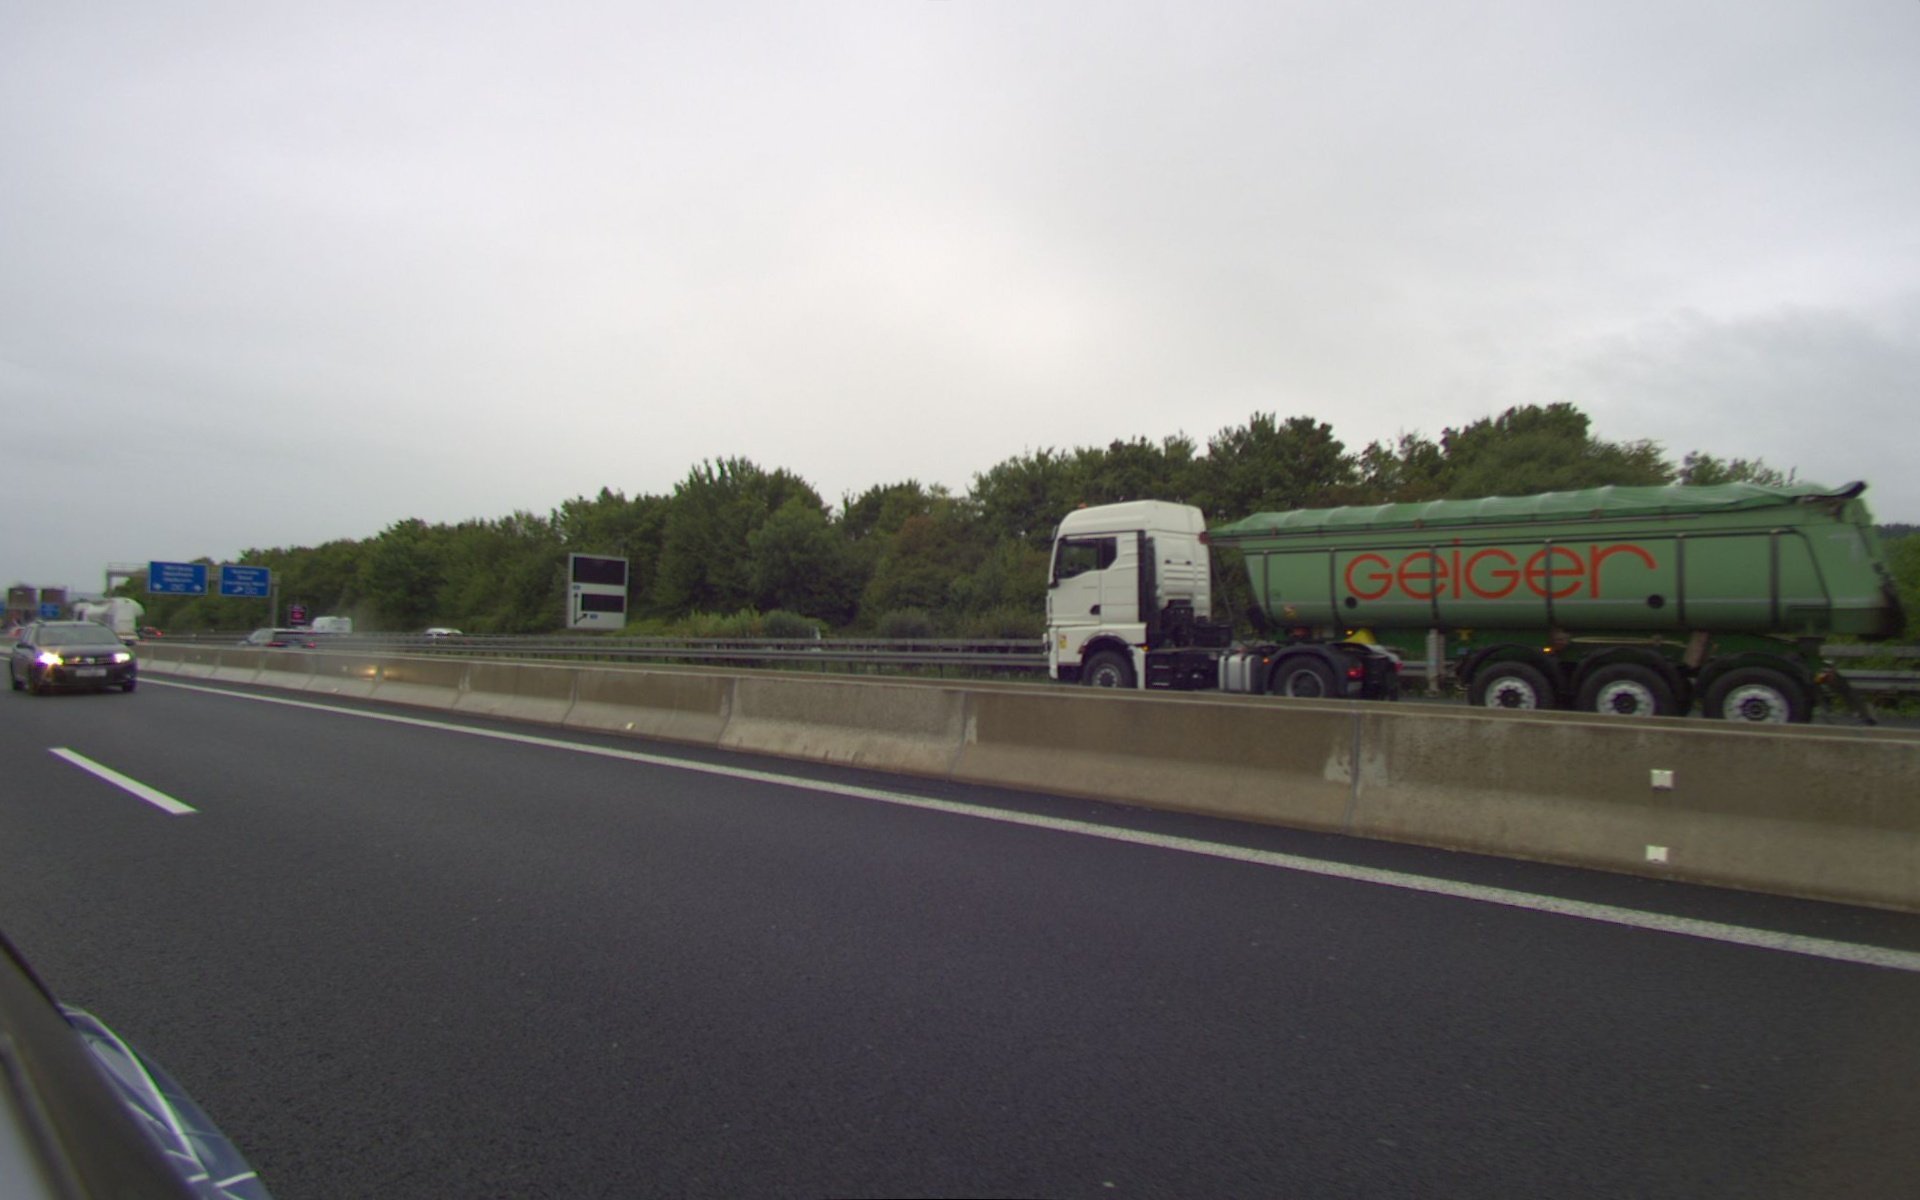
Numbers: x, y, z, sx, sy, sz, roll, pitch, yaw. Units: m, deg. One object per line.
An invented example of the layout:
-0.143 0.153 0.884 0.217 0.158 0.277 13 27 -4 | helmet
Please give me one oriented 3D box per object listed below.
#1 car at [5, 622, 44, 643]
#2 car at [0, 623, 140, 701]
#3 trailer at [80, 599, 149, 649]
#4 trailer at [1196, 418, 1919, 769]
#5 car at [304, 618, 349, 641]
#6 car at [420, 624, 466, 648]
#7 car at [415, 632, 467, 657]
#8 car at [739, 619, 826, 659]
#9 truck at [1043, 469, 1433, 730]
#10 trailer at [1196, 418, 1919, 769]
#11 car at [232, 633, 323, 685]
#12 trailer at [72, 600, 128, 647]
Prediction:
-73.958 2.539 80.002 4.354 1.592 1.789 -1 -2 41 | car
-19.273 1.254 21.820 4.565 1.501 1.703 -1 -2 41 | car
-67.787 1.878 81.034 10.806 3.765 2.609 -1 -2 41 | trailer
8.139 -0.004 14.693 8.923 3.777 2.872 -1 -2 41 | trailer
-55.876 2.572 89.182 5.296 2.029 1.854 -1 -2 41 | car
-40.164 2.772 78.568 3.995 1.783 1.687 -1 -2 38 | car
-34.057 2.912 66.373 3.998 1.519 1.686 -1 -2 41 | car
-8.528 1.849 48.370 4.411 1.800 1.781 -1 -2 43 | car
4.693 0.049 17.701 5.941 3.777 2.857 -1 -2 41 | truck
8.139 -0.004 14.693 8.923 3.777 2.872 -1 -2 41 | trailer
-27.186 2.303 40.250 4.539 1.890 1.876 -1 -2 41 | car
-72.003 1.944 84.703 6.489 3.744 2.609 -1 -2 41 | trailer
